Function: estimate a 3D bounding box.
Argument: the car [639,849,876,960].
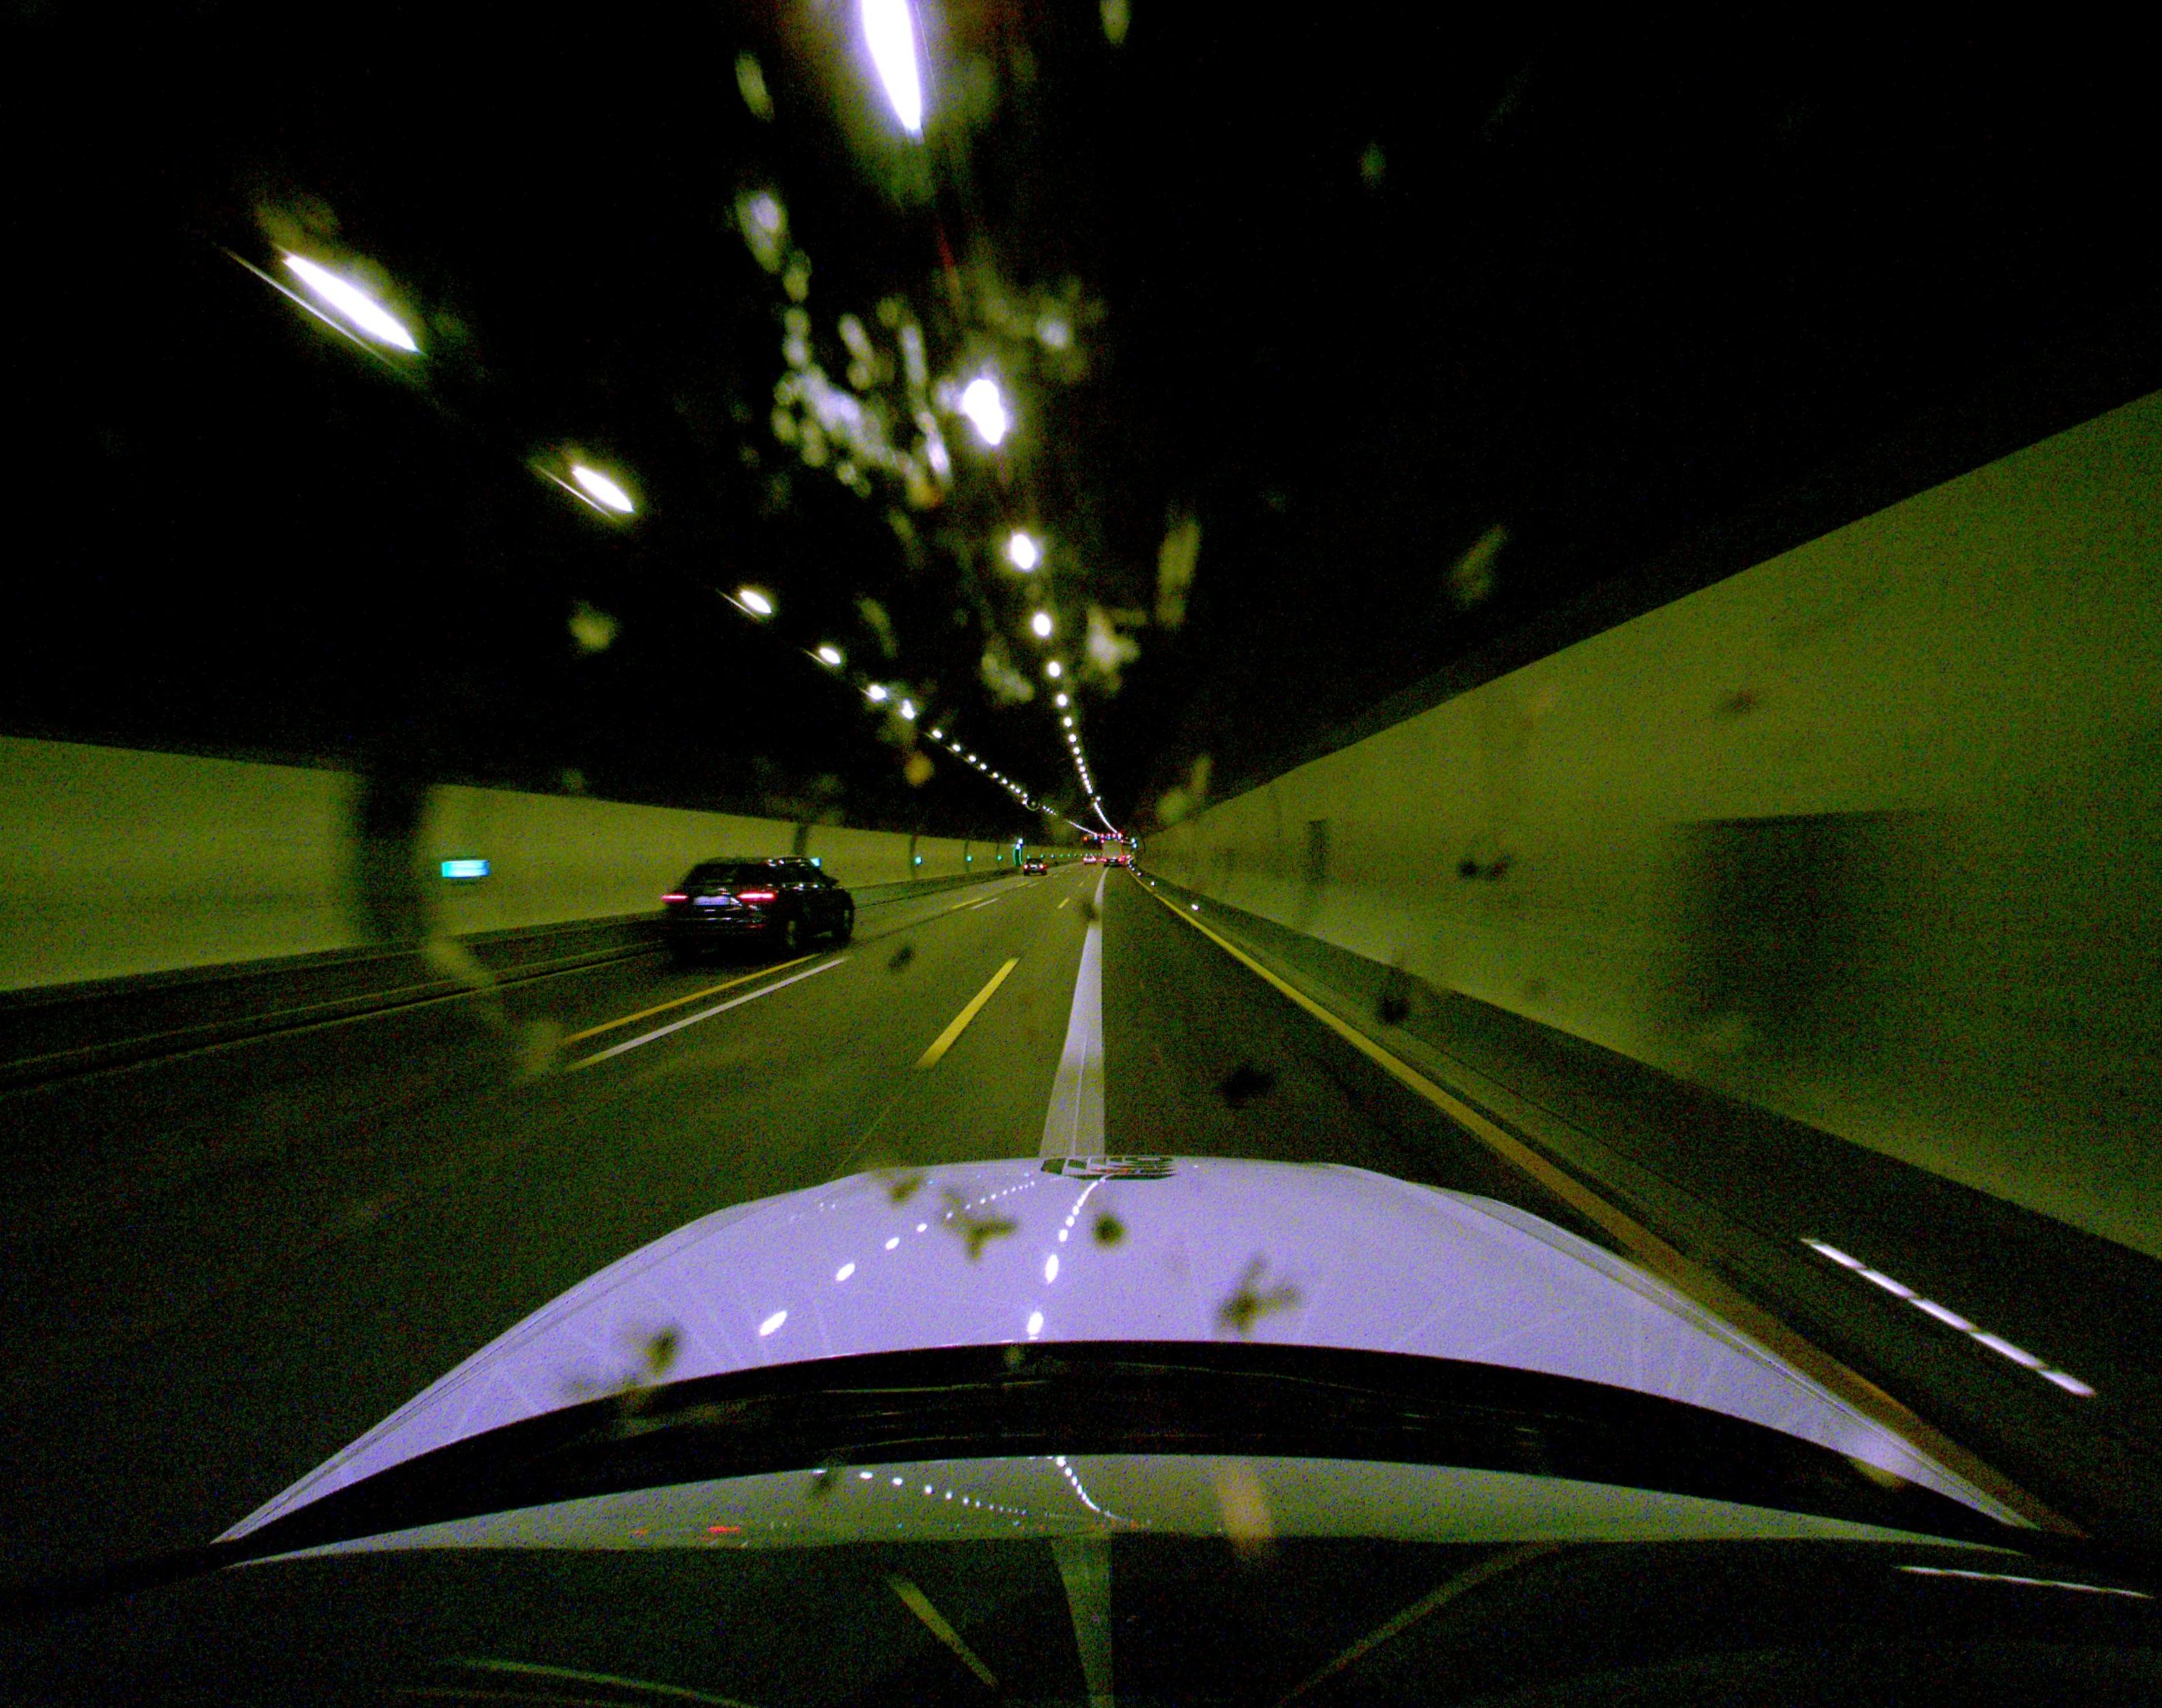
[{"bbox_3d":[-5.163,0.714,13.862,1.986,1.540,4.744,-1,0,2],"label":"car"}]

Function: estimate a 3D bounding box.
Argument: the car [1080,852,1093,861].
[{"bbox_3d":[0.868,0.380,124.502,1.986,1.413,4.743,-1,0,1],"label":"car"}]

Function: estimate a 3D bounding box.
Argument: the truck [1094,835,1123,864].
[{"bbox_3d":[3.672,-0.616,108.838,3.579,3.650,10.726,-1,0,2],"label":"truck"}]

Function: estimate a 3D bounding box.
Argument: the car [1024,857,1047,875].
[{"bbox_3d":[-3.676,0.954,66.750,1.684,1.417,3.922,-1,0,0],"label":"car"}]
